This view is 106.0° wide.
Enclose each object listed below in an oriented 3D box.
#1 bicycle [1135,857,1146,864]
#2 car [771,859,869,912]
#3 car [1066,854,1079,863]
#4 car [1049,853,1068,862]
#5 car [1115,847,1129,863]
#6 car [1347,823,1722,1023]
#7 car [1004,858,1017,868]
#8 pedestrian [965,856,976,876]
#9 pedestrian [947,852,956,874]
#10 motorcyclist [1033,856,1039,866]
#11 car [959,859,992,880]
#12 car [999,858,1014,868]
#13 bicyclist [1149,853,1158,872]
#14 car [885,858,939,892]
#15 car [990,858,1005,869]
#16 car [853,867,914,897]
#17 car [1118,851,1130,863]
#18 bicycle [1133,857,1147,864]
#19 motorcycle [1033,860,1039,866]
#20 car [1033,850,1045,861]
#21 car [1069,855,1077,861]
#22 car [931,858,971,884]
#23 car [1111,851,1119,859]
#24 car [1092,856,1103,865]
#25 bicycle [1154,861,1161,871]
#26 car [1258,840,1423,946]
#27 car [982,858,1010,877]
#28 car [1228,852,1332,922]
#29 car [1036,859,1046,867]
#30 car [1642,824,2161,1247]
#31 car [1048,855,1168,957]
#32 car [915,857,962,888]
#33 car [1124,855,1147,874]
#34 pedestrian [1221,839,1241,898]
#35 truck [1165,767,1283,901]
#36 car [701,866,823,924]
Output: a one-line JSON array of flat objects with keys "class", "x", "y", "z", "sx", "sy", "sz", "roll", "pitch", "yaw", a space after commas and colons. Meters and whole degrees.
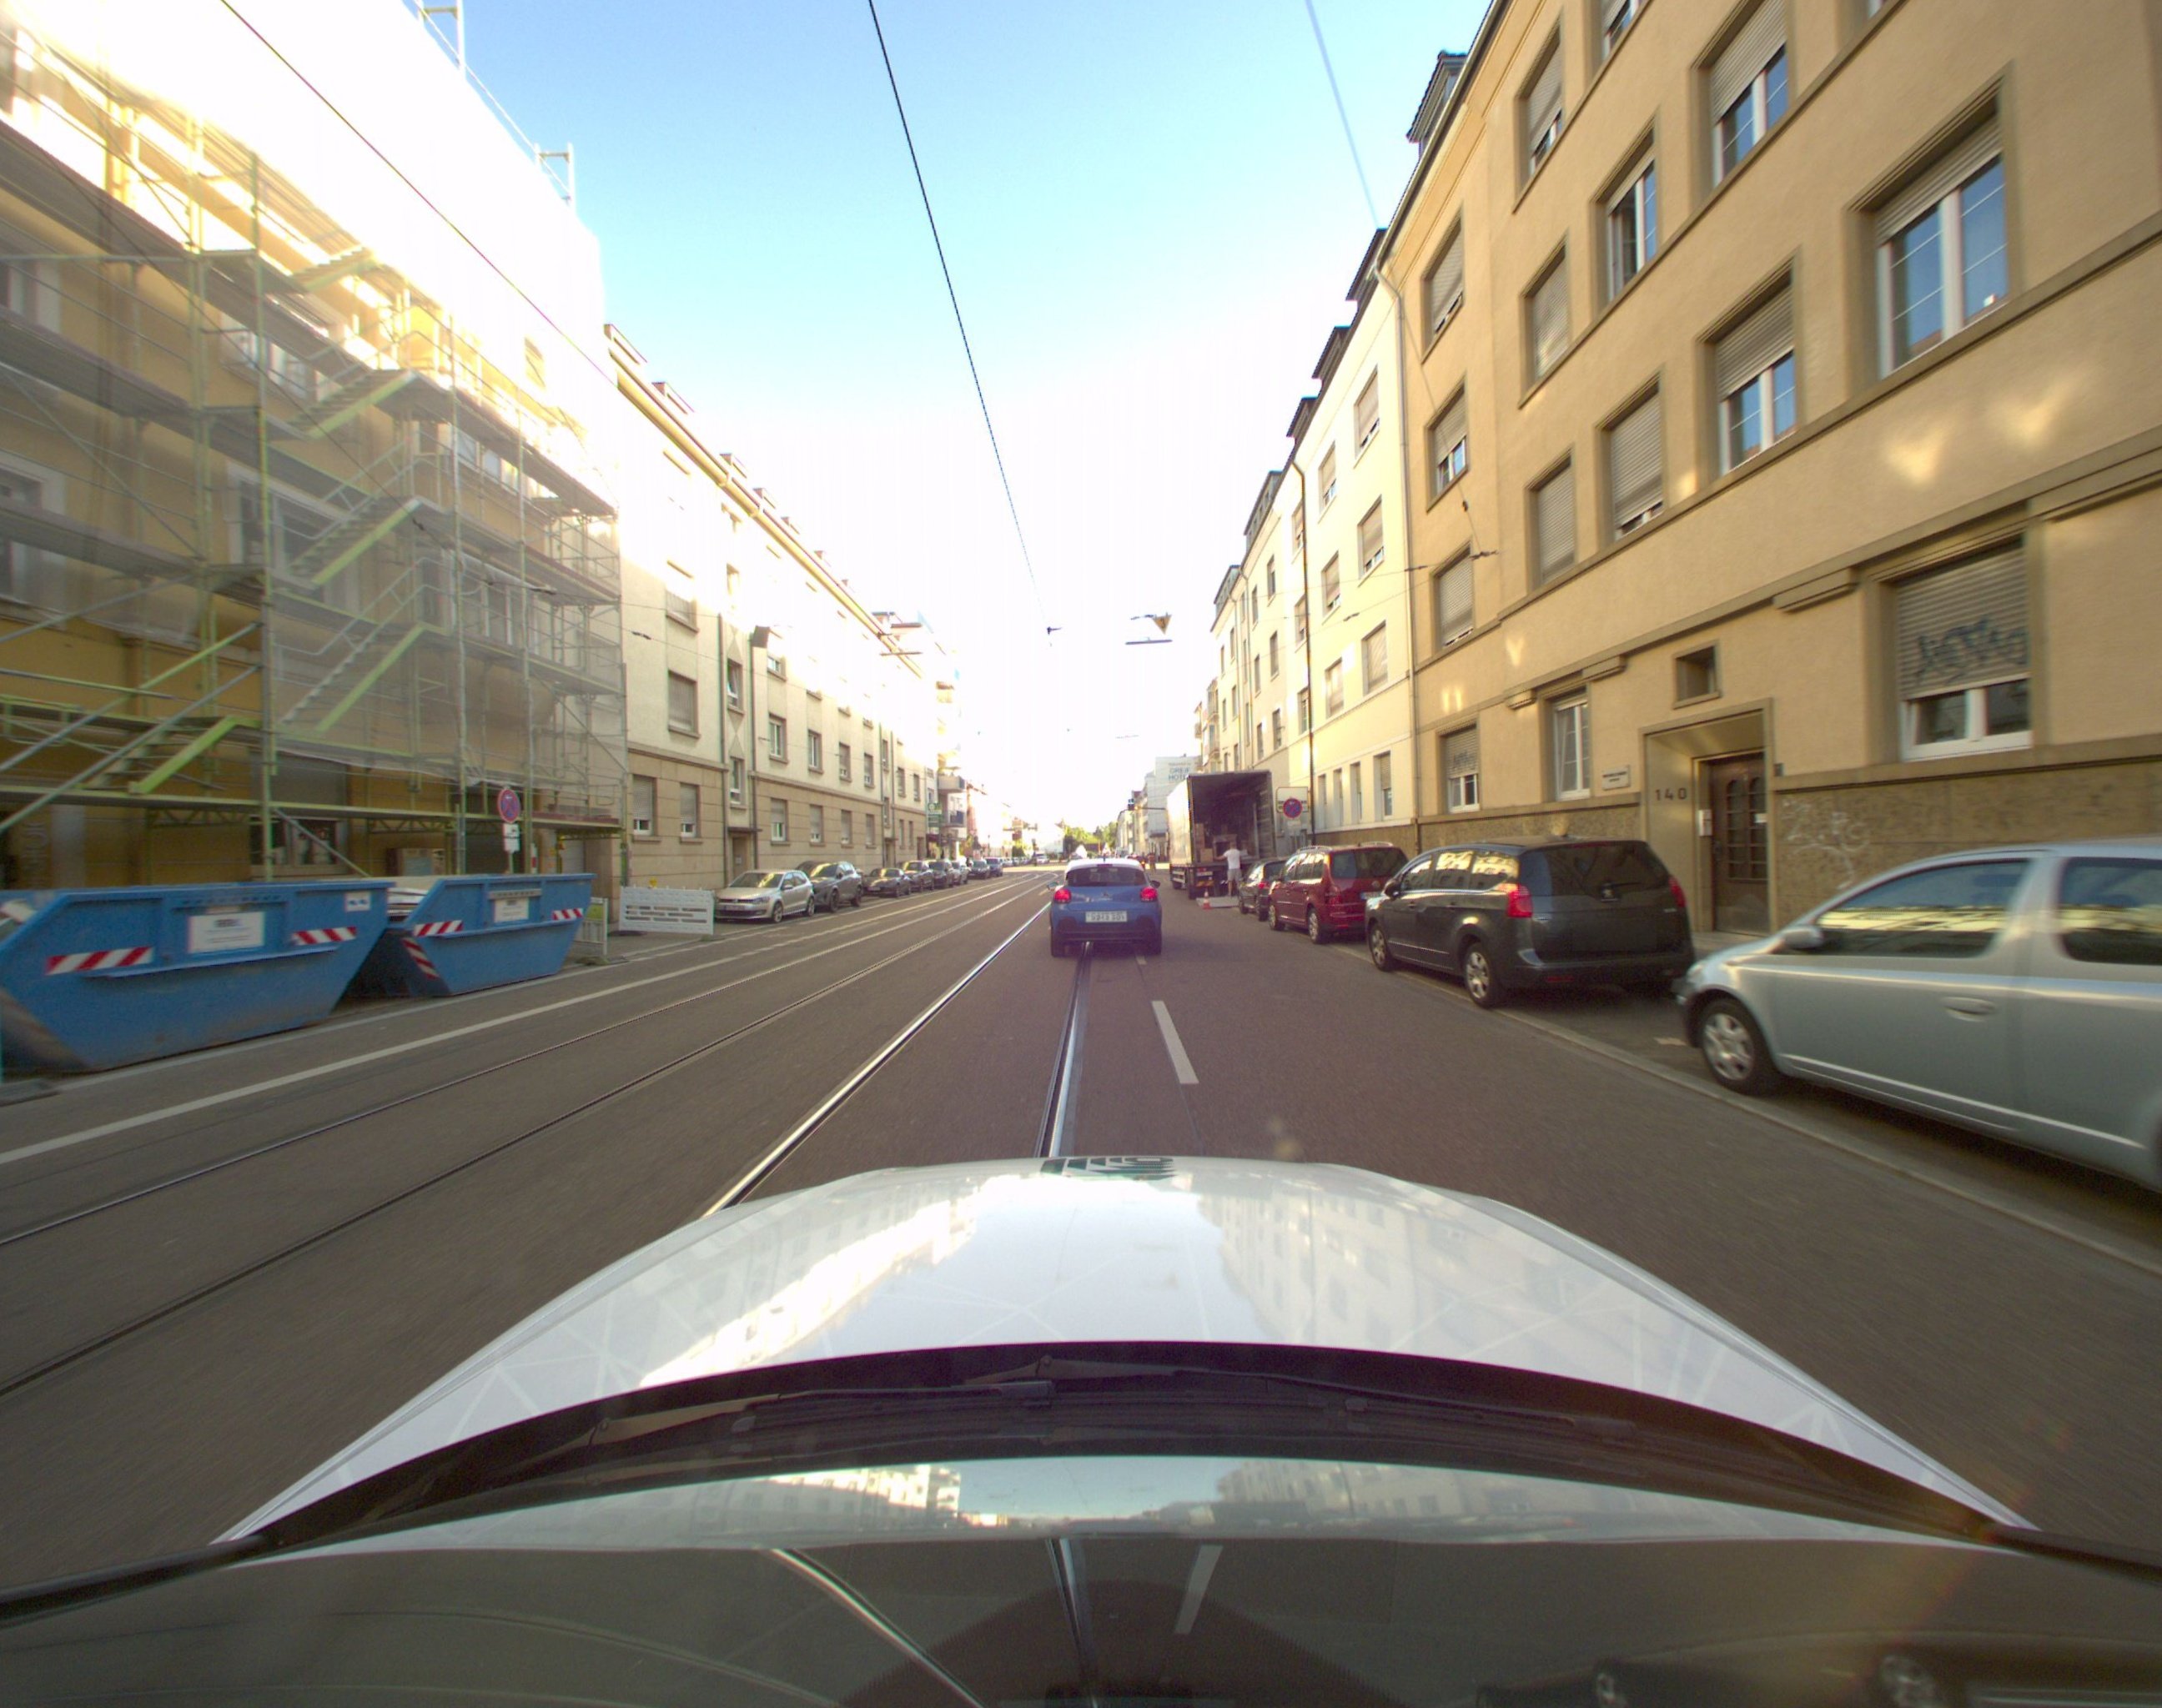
[{"class": "bicycle", "x": 8.527, "y": 0.886, "z": 116.305, "sx": 1.496, "sy": 0.957, "sz": 0.703, "roll": -2, "pitch": 0, "yaw": 6}, {"class": "car", "x": -8.673, "y": 0.992, "z": 27.458, "sx": 1.693, "sy": 1.568, "sz": 4.408, "roll": -2, "pitch": 0, "yaw": 2}, {"class": "car", "x": -1.503, "y": 0.748, "z": 142.641, "sx": 1.986, "sy": 1.508, "sz": 4.001, "roll": -1, "pitch": 0, "yaw": 1}, {"class": "car", "x": -4.255, "y": 0.610, "z": 152.727, "sx": 1.820, "sy": 1.640, "sz": 3.960, "roll": -2, "pitch": 0, "yaw": -31}, {"class": "car", "x": 6.195, "y": 0.108, "z": 122.957, "sx": 1.986, "sy": 2.325, "sz": 4.001, "roll": 0, "pitch": 0, "yaw": 1}, {"class": "car", "x": 4.658, "y": 0.600, "z": 9.265, "sx": 1.784, "sy": 1.651, "sz": 4.366, "roll": -3, "pitch": 0, "yaw": 0}, {"class": "car", "x": -11.921, "y": 1.519, "z": 137.846, "sx": 1.904, "sy": 1.497, "sz": 4.000, "roll": -2, "pitch": 0, "yaw": 0}, {"class": "pedestrian", "x": -9.021, "y": 0.980, "z": 66.379, "sx": 0.694, "sy": 1.548, "sz": 0.722, "roll": -1, "pitch": 0, "yaw": 4}, {"class": "pedestrian", "x": -12.243, "y": 0.859, "z": 77.085, "sx": 0.684, "sy": 2.013, "sz": 0.486, "roll": -1, "pitch": 0, "yaw": -2}, {"class": "motorcyclist", "x": -6.527, "y": 1.013, "z": 118.543, "sx": 0.715, "sy": 1.378, "sz": 0.912, "roll": -2, "pitch": 0, "yaw": 5}, {"class": "car", "x": -7.832, "y": 1.107, "z": 60.826, "sx": 1.693, "sy": 1.509, "sz": 4.313, "roll": 0, "pitch": -1, "yaw": 2}, {"class": "car", "x": -12.024, "y": 1.420, "z": 131.045, "sx": 1.904, "sy": 1.497, "sz": 4.000, "roll": -2, "pitch": 0, "yaw": 0}, {"class": "bicyclist", "x": 6.269, "y": 0.713, "z": 70.489, "sx": 0.723, "sy": 1.646, "sz": 0.791, "roll": -2, "pitch": 0, "yaw": 4}, {"class": "car", "x": -8.386, "y": 1.022, "z": 40.709, "sx": 1.693, "sy": 1.569, "sz": 4.002, "roll": 0, "pitch": -1, "yaw": 2}, {"class": "car", "x": -12.369, "y": 1.416, "z": 120.679, "sx": 1.905, "sy": 1.433, "sz": 3.998, "roll": -2, "pitch": 0, "yaw": -1}, {"class": "car", "x": -8.568, "y": 1.174, "z": 35.612, "sx": 1.693, "sy": 1.216, "sz": 3.785, "roll": 0, "pitch": -1, "yaw": 0}, {"class": "car", "x": 6.231, "y": 0.423, "z": 118.018, "sx": 1.726, "sy": 1.750, "sz": 3.214, "roll": 0, "pitch": 0, "yaw": 1}, {"class": "bicycle", "x": 8.522, "y": 0.891, "z": 117.370, "sx": 1.864, "sy": 0.957, "sz": 0.703, "roll": -2, "pitch": 0, "yaw": 6}, {"class": "motorcycle", "x": -6.517, "y": 1.301, "z": 118.697, "sx": 0.613, "sy": 0.864, "sz": 1.673, "roll": -2, "pitch": 0, "yaw": 5}, {"class": "car", "x": -8.945, "y": 0.237, "z": 172.582, "sx": 2.199, "sy": 2.251, "sz": 4.677, "roll": -2, "pitch": 0, "yaw": 1}, {"class": "car", "x": -2.135, "y": 1.020, "z": 220.914, "sx": 2.014, "sy": 1.525, "sz": 4.000, "roll": -1, "pitch": 0, "yaw": 1}, {"class": "car", "x": -8.027, "y": 1.040, "z": 50.647, "sx": 1.693, "sy": 1.509, "sz": 4.387, "roll": 0, "pitch": -1, "yaw": 1}, {"class": "car", "x": 7.555, "y": 0.213, "z": 181.891, "sx": 1.682, "sy": 1.618, "sz": 4.002, "roll": 0, "pitch": 0, "yaw": 2}, {"class": "car", "x": 2.985, "y": 1.122, "z": 148.682, "sx": 1.986, "sy": 1.618, "sz": 4.001, "roll": 0, "pitch": 0, "yaw": 1}, {"class": "bicycle", "x": 6.586, "y": 1.032, "z": 70.359, "sx": 0.496, "sy": 0.864, "sz": 1.750, "roll": -2, "pitch": 0, "yaw": 2}, {"class": "car", "x": 4.599, "y": 0.623, "z": 15.104, "sx": 1.587, "sy": 1.609, "sz": 4.245, "roll": -3, "pitch": 0, "yaw": -1}, {"class": "car", "x": -6.952, "y": 1.078, "z": 66.861, "sx": 1.738, "sy": 1.509, "sz": 4.002, "roll": 0, "pitch": -1, "yaw": 2}, {"class": "car", "x": 4.775, "y": 0.730, "z": 20.021, "sx": 1.577, "sy": 1.463, "sz": 3.881, "roll": -3, "pitch": 0, "yaw": 1}, {"class": "car", "x": -7.654, "y": 1.751, "z": 156.578, "sx": 1.844, "sy": 1.574, "sz": 4.400, "roll": -1, "pitch": 0, "yaw": 0}, {"class": "car", "x": 4.633, "y": 0.620, "z": 3.864, "sx": 1.602, "sy": 1.463, "sz": 3.481, "roll": -3, "pitch": 0, "yaw": 2}, {"class": "car", "x": 0.349, "y": 0.755, "z": 13.803, "sx": 1.739, "sy": 1.462, "sz": 3.998, "roll": 0, "pitch": 0, "yaw": -1}, {"class": "car", "x": -7.825, "y": 1.004, "z": 44.996, "sx": 1.693, "sy": 1.615, "sz": 4.245, "roll": 0, "pitch": -1, "yaw": 2}, {"class": "car", "x": 4.287, "y": 0.787, "z": 63.879, "sx": 1.730, "sy": 1.420, "sz": 4.005, "roll": -1, "pitch": 0, "yaw": 4}, {"class": "pedestrian", "x": 4.622, "y": 0.451, "z": 25.136, "sx": 0.511, "sy": 1.775, "sz": 0.416, "roll": -2, "pitch": 0, "yaw": 1}, {"class": "truck", "x": 5.037, "y": -0.628, "z": 31.125, "sx": 2.848, "sy": 4.073, "sz": 11.787, "roll": -2, "pitch": 0, "yaw": 3}, {"class": "car", "x": -8.834, "y": 1.083, "z": 22.932, "sx": 1.693, "sy": 1.416, "sz": 4.002, "roll": 2, "pitch": -1, "yaw": 2}]
